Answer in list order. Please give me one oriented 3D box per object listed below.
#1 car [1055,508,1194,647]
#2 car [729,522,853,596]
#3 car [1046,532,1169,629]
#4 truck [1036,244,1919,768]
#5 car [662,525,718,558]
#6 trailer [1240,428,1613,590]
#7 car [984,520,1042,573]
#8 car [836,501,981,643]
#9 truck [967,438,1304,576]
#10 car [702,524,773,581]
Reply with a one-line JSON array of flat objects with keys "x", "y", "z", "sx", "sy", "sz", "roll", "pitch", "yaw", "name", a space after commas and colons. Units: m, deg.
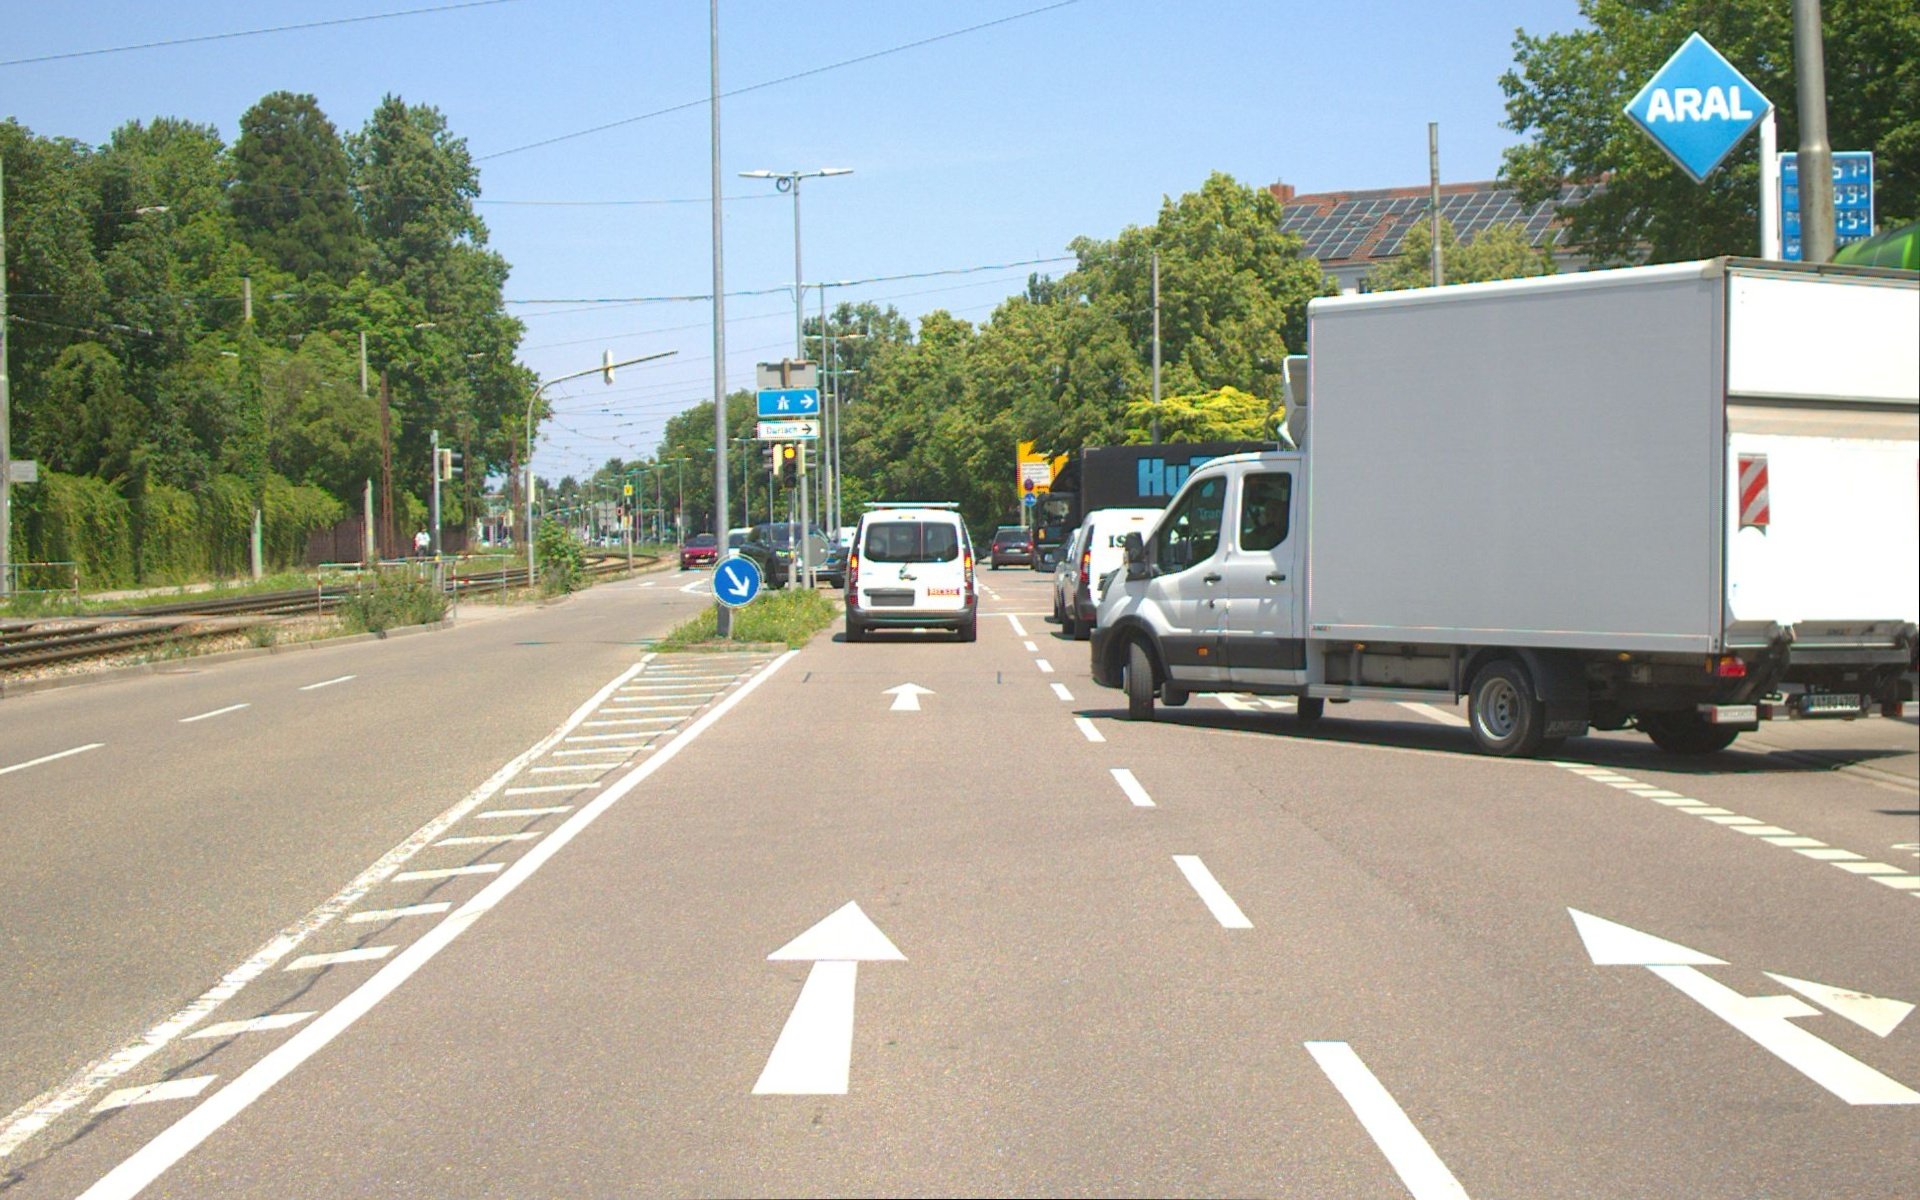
[{"x": 2.250, "y": -0.343, "z": 47.785, "sx": 1.710, "sy": 1.824, "sz": 4.014, "roll": -1, "pitch": 1, "yaw": 0, "name": "car"}, {"x": -4.329, "y": -1.060, "z": 87.331, "sx": 1.993, "sy": 1.823, "sz": 4.541, "roll": -1, "pitch": 1, "yaw": -18, "name": "car"}, {"x": 2.356, "y": -0.343, "z": 55.766, "sx": 1.756, "sy": 1.481, "sz": 4.000, "roll": -1, "pitch": 1, "yaw": -1, "name": "car"}, {"x": 3.769, "y": -0.672, "z": 26.125, "sx": 2.420, "sy": 3.380, "sz": 7.833, "roll": -1, "pitch": 1, "yaw": -32, "name": "truck"}, {"x": -11.585, "y": -2.517, "z": 147.826, "sx": 1.984, "sy": 1.354, "sz": 4.538, "roll": -1, "pitch": 1, "yaw": 1, "name": "car"}, {"x": 12.127, "y": -2.331, "z": 89.727, "sx": 8.963, "sy": 4.037, "sz": 3.533, "roll": 0, "pitch": 1, "yaw": 32, "name": "trailer"}, {"x": 1.911, "y": -1.971, "z": 125.491, "sx": 1.993, "sy": 1.853, "sz": 4.000, "roll": -1, "pitch": 1, "yaw": -1, "name": "car"}, {"x": -0.711, "y": -0.410, "z": 46.836, "sx": 1.866, "sy": 1.829, "sz": 3.849, "roll": 1, "pitch": 1, "yaw": -1, "name": "car"}, {"x": 4.787, "y": -2.521, "z": 94.794, "sx": 8.799, "sy": 3.620, "sz": 3.580, "roll": 0, "pitch": 2, "yaw": 38, "name": "truck"}, {"x": -6.576, "y": -1.406, "z": 101.283, "sx": 1.993, "sy": 1.612, "sz": 4.456, "roll": -1, "pitch": 1, "yaw": -5, "name": "car"}]
